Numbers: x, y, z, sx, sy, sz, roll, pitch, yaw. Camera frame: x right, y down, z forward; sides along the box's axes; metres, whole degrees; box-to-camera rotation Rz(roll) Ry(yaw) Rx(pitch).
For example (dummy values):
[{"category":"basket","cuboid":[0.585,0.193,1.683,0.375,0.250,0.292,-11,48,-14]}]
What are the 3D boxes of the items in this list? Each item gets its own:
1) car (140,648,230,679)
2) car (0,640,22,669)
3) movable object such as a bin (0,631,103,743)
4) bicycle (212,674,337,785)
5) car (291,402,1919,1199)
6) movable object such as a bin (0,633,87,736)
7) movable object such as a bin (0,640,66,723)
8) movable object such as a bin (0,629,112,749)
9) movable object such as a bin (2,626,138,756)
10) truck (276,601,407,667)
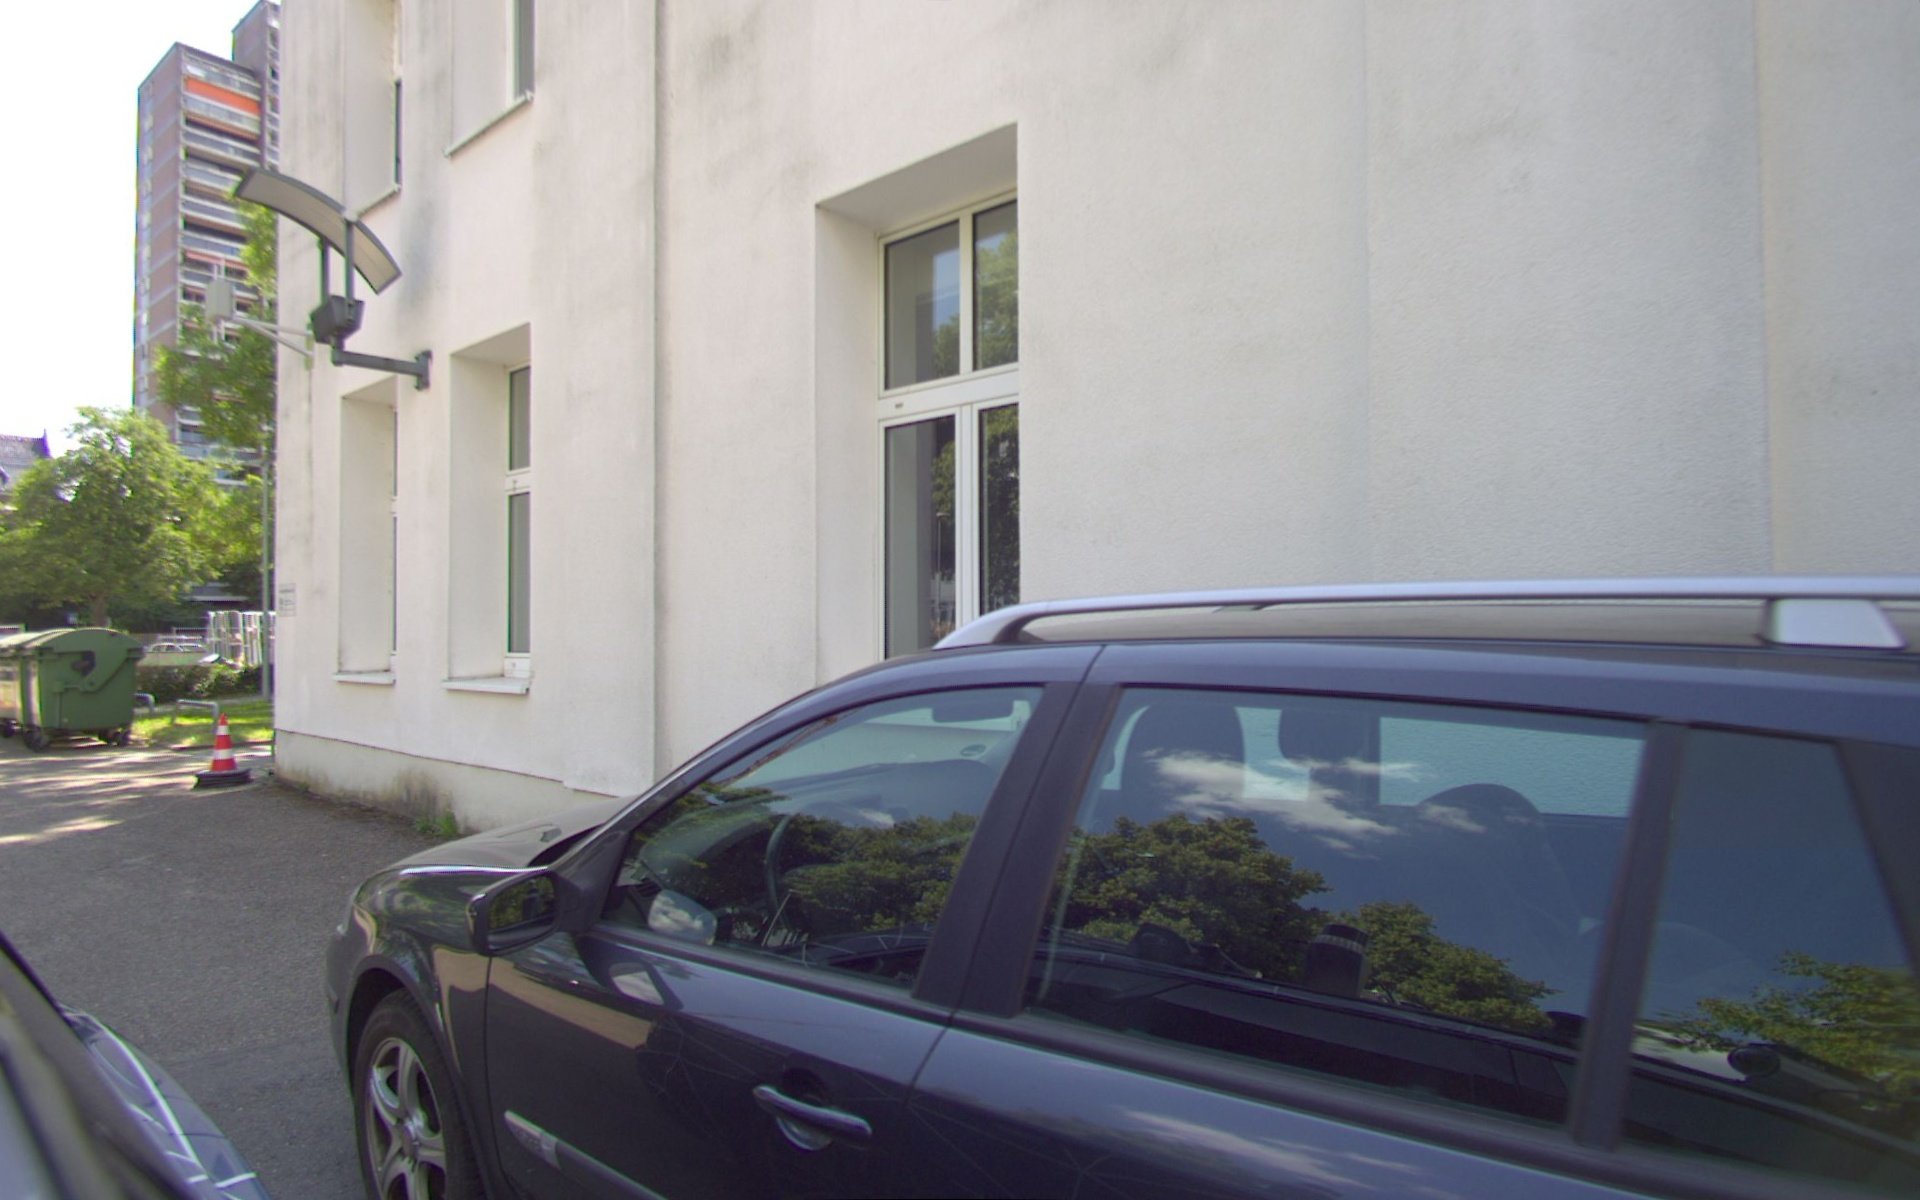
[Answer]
[{"category":"car","cuboid":[-37.189,3.026,48.571,3.551,1.451,1.614,-1,-3,16]},{"category":"car","cuboid":[-68.998,3.890,72.091,1.965,2.029,4.013,0,-2,-23]},{"category":"movable object such as a bin","cuboid":[-13.126,1.193,14.323,1.354,1.491,1.086,-2,-3,29]},{"category":"bicycle","cuboid":[-6.783,1.231,9.991,1.729,0.965,0.605,-3,-3,41]},{"category":"car","cuboid":[0.596,0.646,1.697,4.383,1.441,1.736,-3,-3,41]},{"category":"movable object such as a bin","cuboid":[-14.121,1.247,15.244,1.322,1.491,1.193,-2,-3,36]},{"category":"movable object such as a bin","cuboid":[-16.649,1.417,17.804,1.097,1.405,1.164,1,-3,-27]},{"category":"movable object such as a bin","cuboid":[-12.070,1.139,13.424,1.261,1.491,1.033,-3,-3,40]},{"category":"movable object such as a bin","cuboid":[-10.946,1.080,12.445,1.409,1.491,1.033,-3,-3,40]},{"category":"truck","cuboid":[-39.964,2.219,65.291,9.699,4.036,2.724,-2,-2,28]}]
